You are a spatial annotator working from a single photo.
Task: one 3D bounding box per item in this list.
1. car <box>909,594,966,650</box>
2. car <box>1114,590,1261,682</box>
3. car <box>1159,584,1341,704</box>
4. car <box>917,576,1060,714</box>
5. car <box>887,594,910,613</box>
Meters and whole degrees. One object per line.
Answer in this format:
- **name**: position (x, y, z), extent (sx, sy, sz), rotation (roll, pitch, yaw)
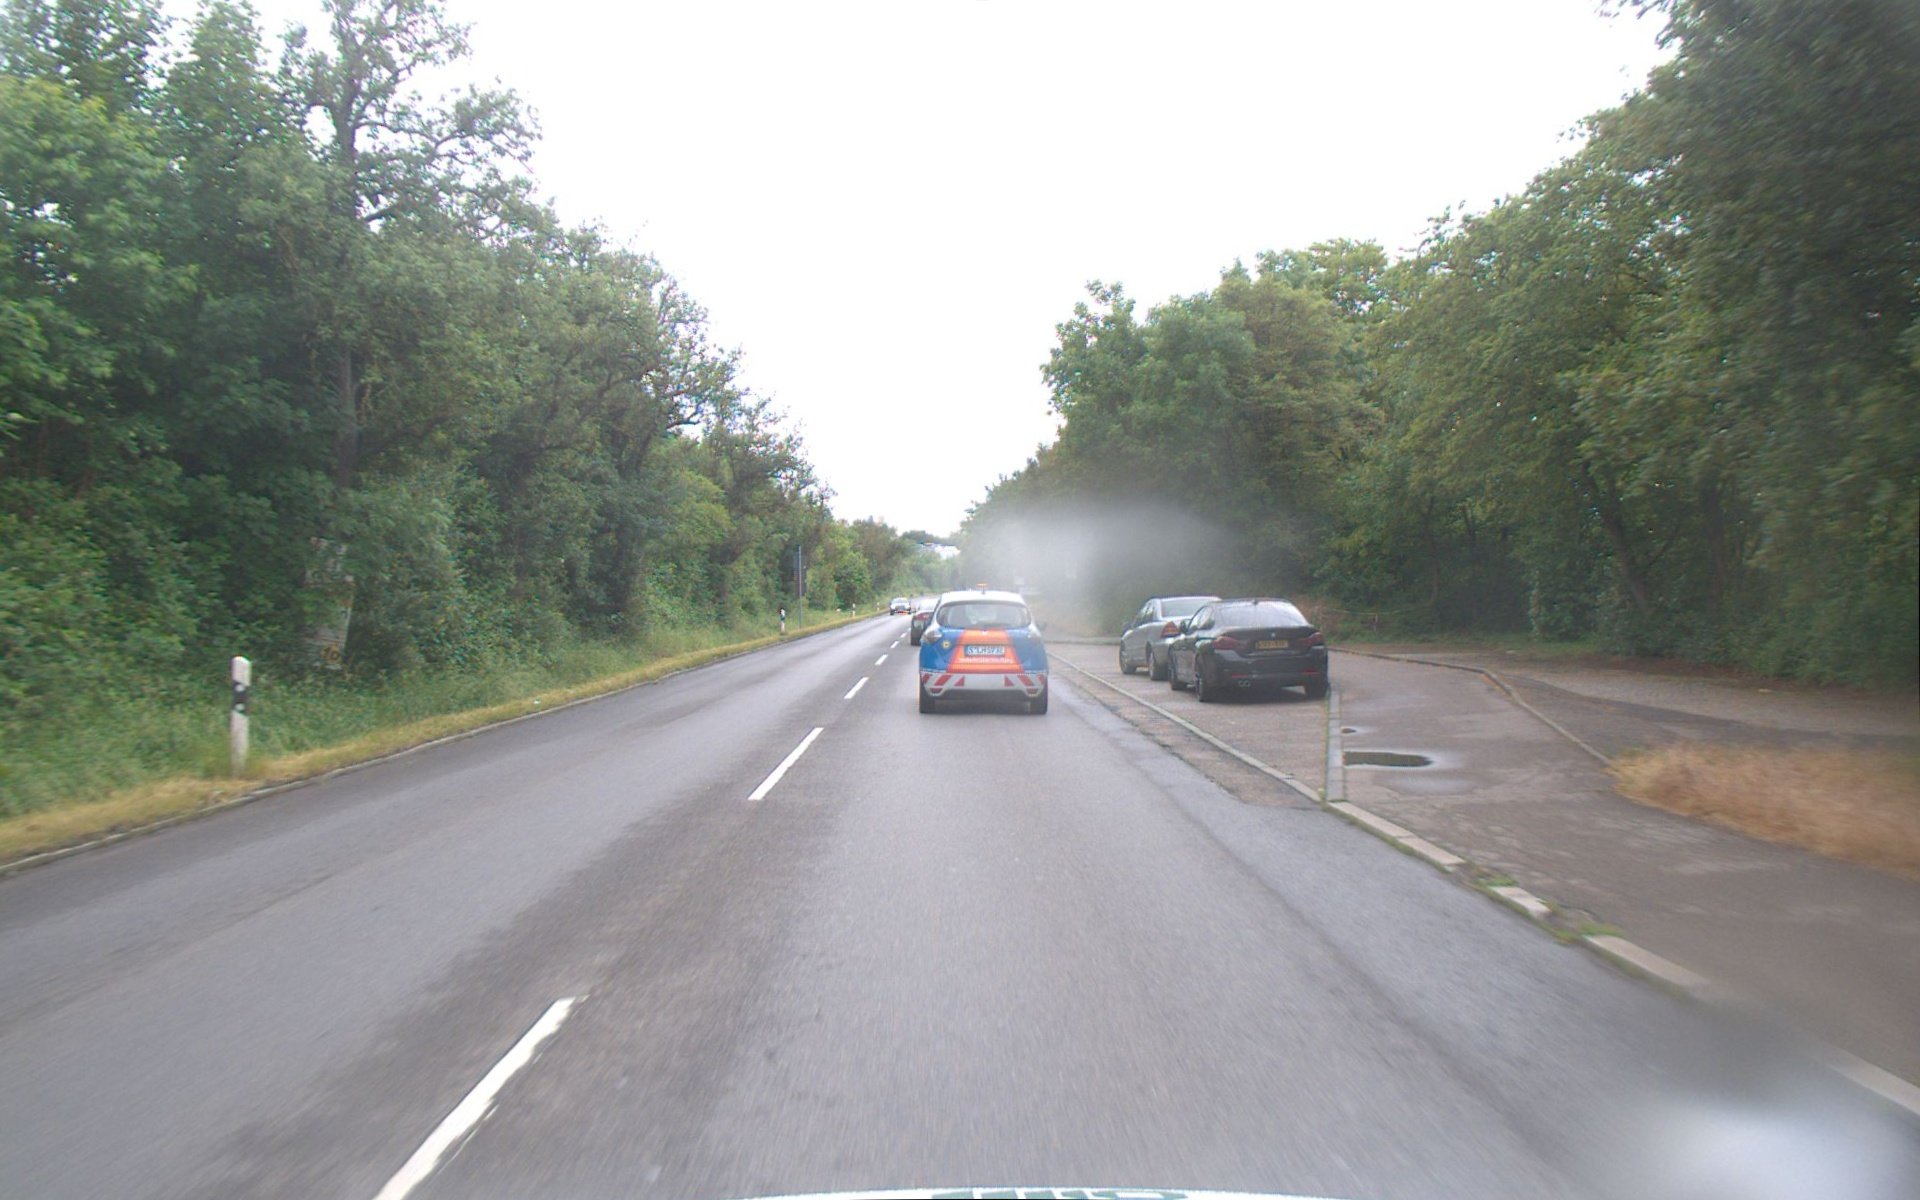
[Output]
- **car**: position (-0.683, 0.660, 50.698), extent (1.659, 1.623, 3.855), rotation (1, 0, 0)
- **car**: position (4.092, 0.626, 30.374), extent (1.711, 1.494, 4.216), rotation (-2, 0, -5)
- **car**: position (4.226, 0.605, 24.845), extent (1.769, 1.536, 4.666), rotation (-3, 0, -1)
- **car**: position (0.335, 0.573, 22.663), extent (1.769, 1.697, 3.855), rotation (1, 0, -1)
- **car**: position (-5.465, 0.336, 147.687), extent (1.833, 1.515, 4.573), rotation (-4, 0, -1)
